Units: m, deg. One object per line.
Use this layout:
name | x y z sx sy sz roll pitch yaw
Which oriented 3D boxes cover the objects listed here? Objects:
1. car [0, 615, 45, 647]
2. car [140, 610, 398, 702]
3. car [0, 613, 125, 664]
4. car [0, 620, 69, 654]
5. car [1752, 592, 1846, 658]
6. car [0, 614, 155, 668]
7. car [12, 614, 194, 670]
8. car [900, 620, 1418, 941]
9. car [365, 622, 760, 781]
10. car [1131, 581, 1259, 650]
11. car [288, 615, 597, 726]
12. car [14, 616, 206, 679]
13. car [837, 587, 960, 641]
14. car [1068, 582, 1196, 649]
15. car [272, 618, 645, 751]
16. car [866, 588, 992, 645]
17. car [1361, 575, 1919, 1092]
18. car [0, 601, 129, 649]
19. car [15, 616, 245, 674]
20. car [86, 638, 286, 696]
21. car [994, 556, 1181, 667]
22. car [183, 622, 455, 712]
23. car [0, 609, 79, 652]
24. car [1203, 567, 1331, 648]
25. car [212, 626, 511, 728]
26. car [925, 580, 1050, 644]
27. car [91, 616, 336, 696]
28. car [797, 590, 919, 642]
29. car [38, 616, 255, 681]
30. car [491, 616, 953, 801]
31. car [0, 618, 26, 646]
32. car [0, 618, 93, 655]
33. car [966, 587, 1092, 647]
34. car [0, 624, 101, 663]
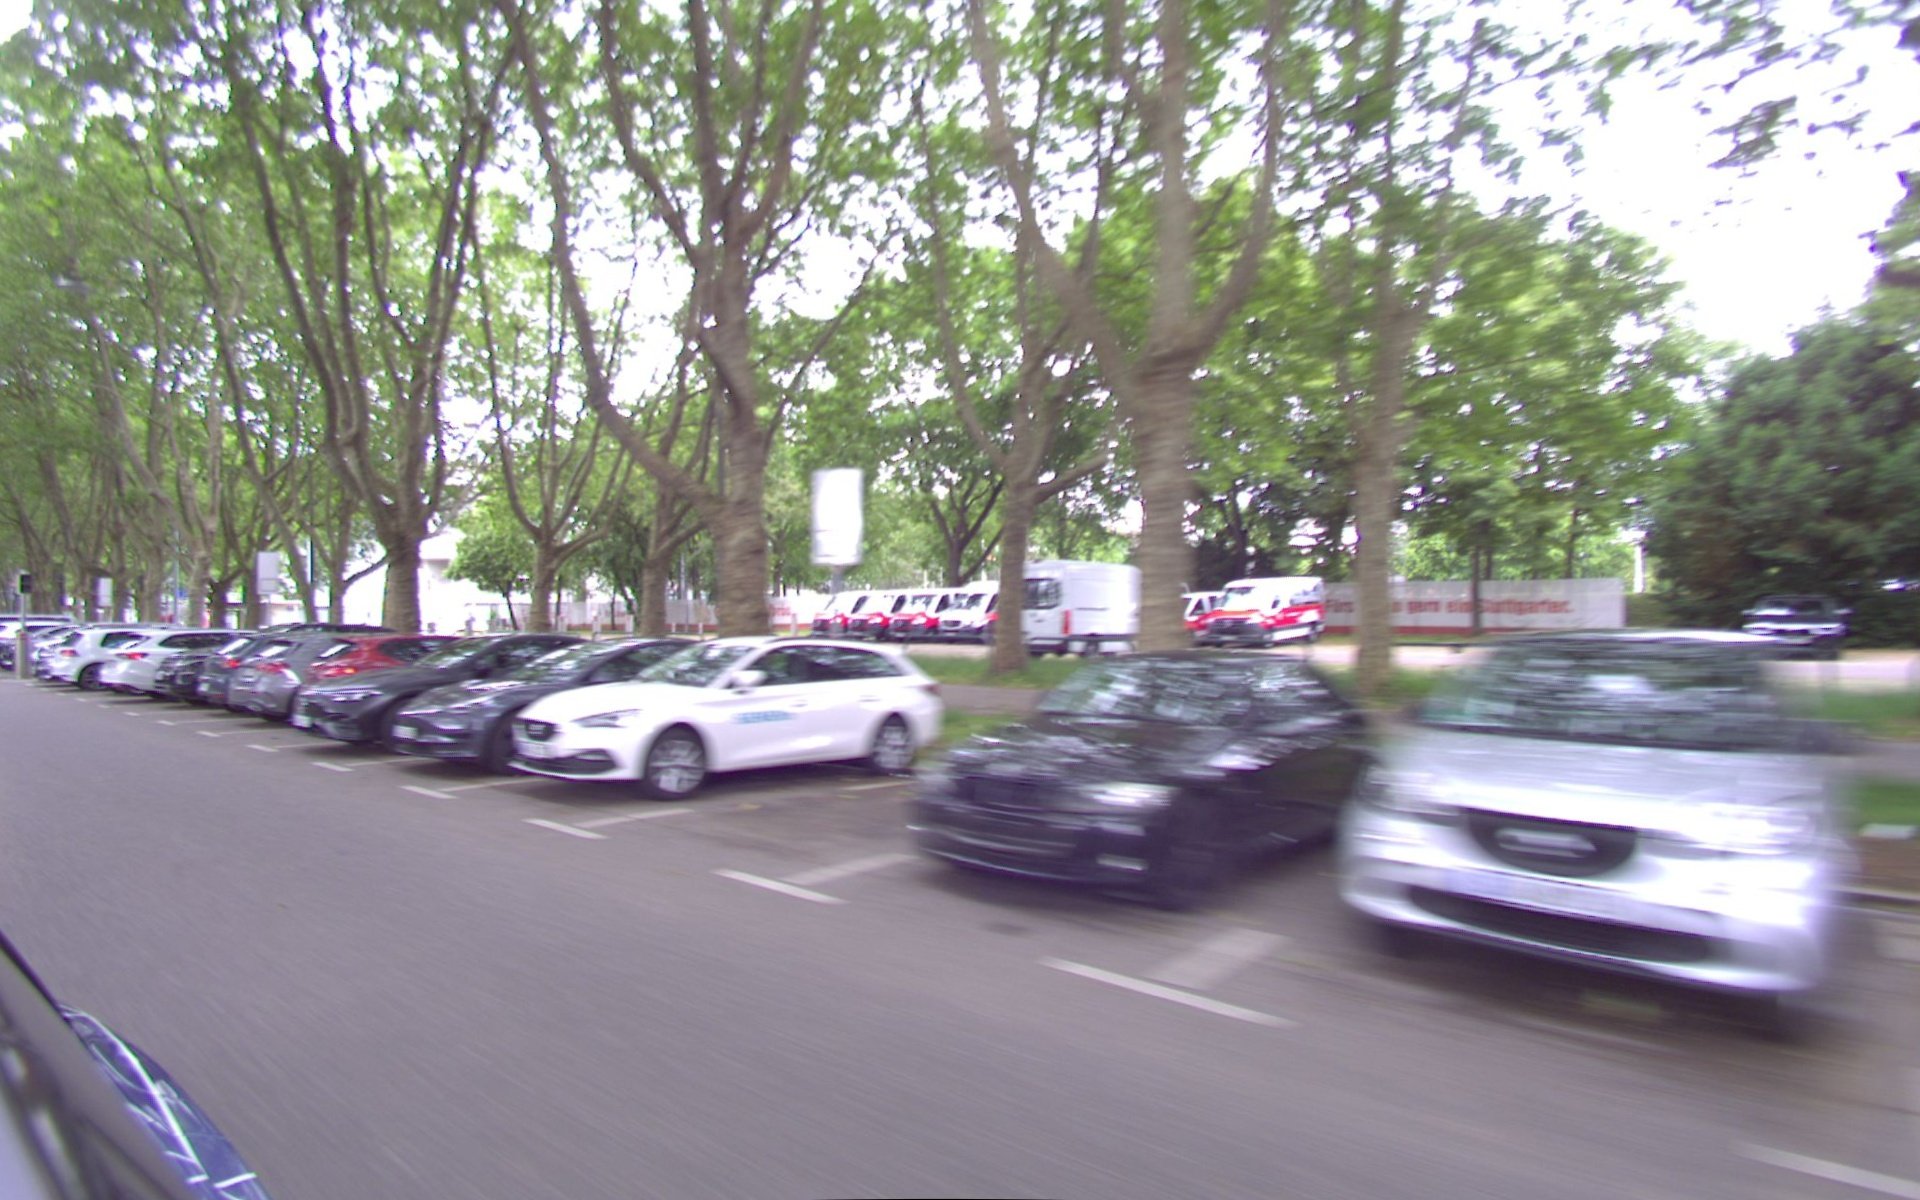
car | -52.309 1.633 54.390 1.998 1.680 4.298 -2 -4 39
car | -13.464 1.071 19.899 1.856 1.621 3.791 -1 -3 37
car | -30.895 1.303 34.116 1.799 1.620 4.023 -2 -3 43
car | -41.774 1.607 44.020 1.775 1.463 4.398 -2 -3 44
car | 20.879 0.588 25.251 1.677 1.497 3.764 -2 0 39
car | -28.508 1.308 32.511 1.831 1.620 3.790 -1 -3 38
car | -26.366 1.288 31.251 1.692 1.620 4.005 -1 -2 38
car | 1.636 0.901 6.796 1.692 1.441 4.292 -1 -3 37
car | -4.271 1.010 11.372 1.692 1.440 3.790 0 -2 38
car | 8.616 0.493 36.686 1.999 2.322 5.941 -2 0 40
car | -7.641 1.001 15.180 1.695 1.441 3.783 -2 -3 45
car | -23.532 1.300 28.143 1.692 1.620 3.790 -1 -3 38
car | -2.683 0.574 45.801 1.999 2.269 5.941 -2 0 40
car | 6.576 0.524 38.132 1.999 2.347 5.941 -2 0 40
car | -6.294 0.999 13.102 1.692 1.441 3.983 -1 -3 37
car | -1.256 0.659 44.304 1.999 2.335 5.941 -2 0 40
car | 3.450 0.787 5.084 1.692 1.566 3.790 -1 -3 38
car | -32.555 0.935 36.359 1.950 1.640 3.790 -1 -3 38
car | -21.536 1.166 26.439 1.692 1.375 4.359 -1 -3 37
car | -17.530 1.471 23.032 1.582 1.212 3.285 -1 -3 37
car | 3.501 0.244 26.696 1.999 2.617 5.726 -2 0 41
car | -11.522 1.163 18.394 1.800 1.441 3.789 -2 -3 39
car | -45.093 1.442 47.856 1.916 2.035 4.847 -1 -3 37
car | 10.677 0.224 34.829 1.999 2.546 5.941 -2 0 40
car | -9.513 1.169 16.335 1.692 1.441 3.790 -1 -3 38
car | 1.269 0.442 43.150 1.999 2.546 5.941 -2 0 40
car | -15.480 1.140 21.159 1.692 1.509 3.790 -1 -3 38
car | -4.684 0.714 47.484 1.999 2.269 5.941 -2 0 40
car | -19.576 1.147 24.500 1.692 1.441 3.790 -1 -3 38
car | -2.128 0.982 10.160 1.693 1.441 4.356 -2 -4 40
car | -54.271 1.733 55.683 1.840 1.487 3.948 -2 -4 38
car | -38.154 1.489 41.250 1.534 1.482 3.960 -1 -3 35
car | 2.922 0.629 41.358 1.999 2.257 5.941 -2 0 40
car | -36.547 1.715 39.957 1.863 1.485 3.718 -2 -3 39
